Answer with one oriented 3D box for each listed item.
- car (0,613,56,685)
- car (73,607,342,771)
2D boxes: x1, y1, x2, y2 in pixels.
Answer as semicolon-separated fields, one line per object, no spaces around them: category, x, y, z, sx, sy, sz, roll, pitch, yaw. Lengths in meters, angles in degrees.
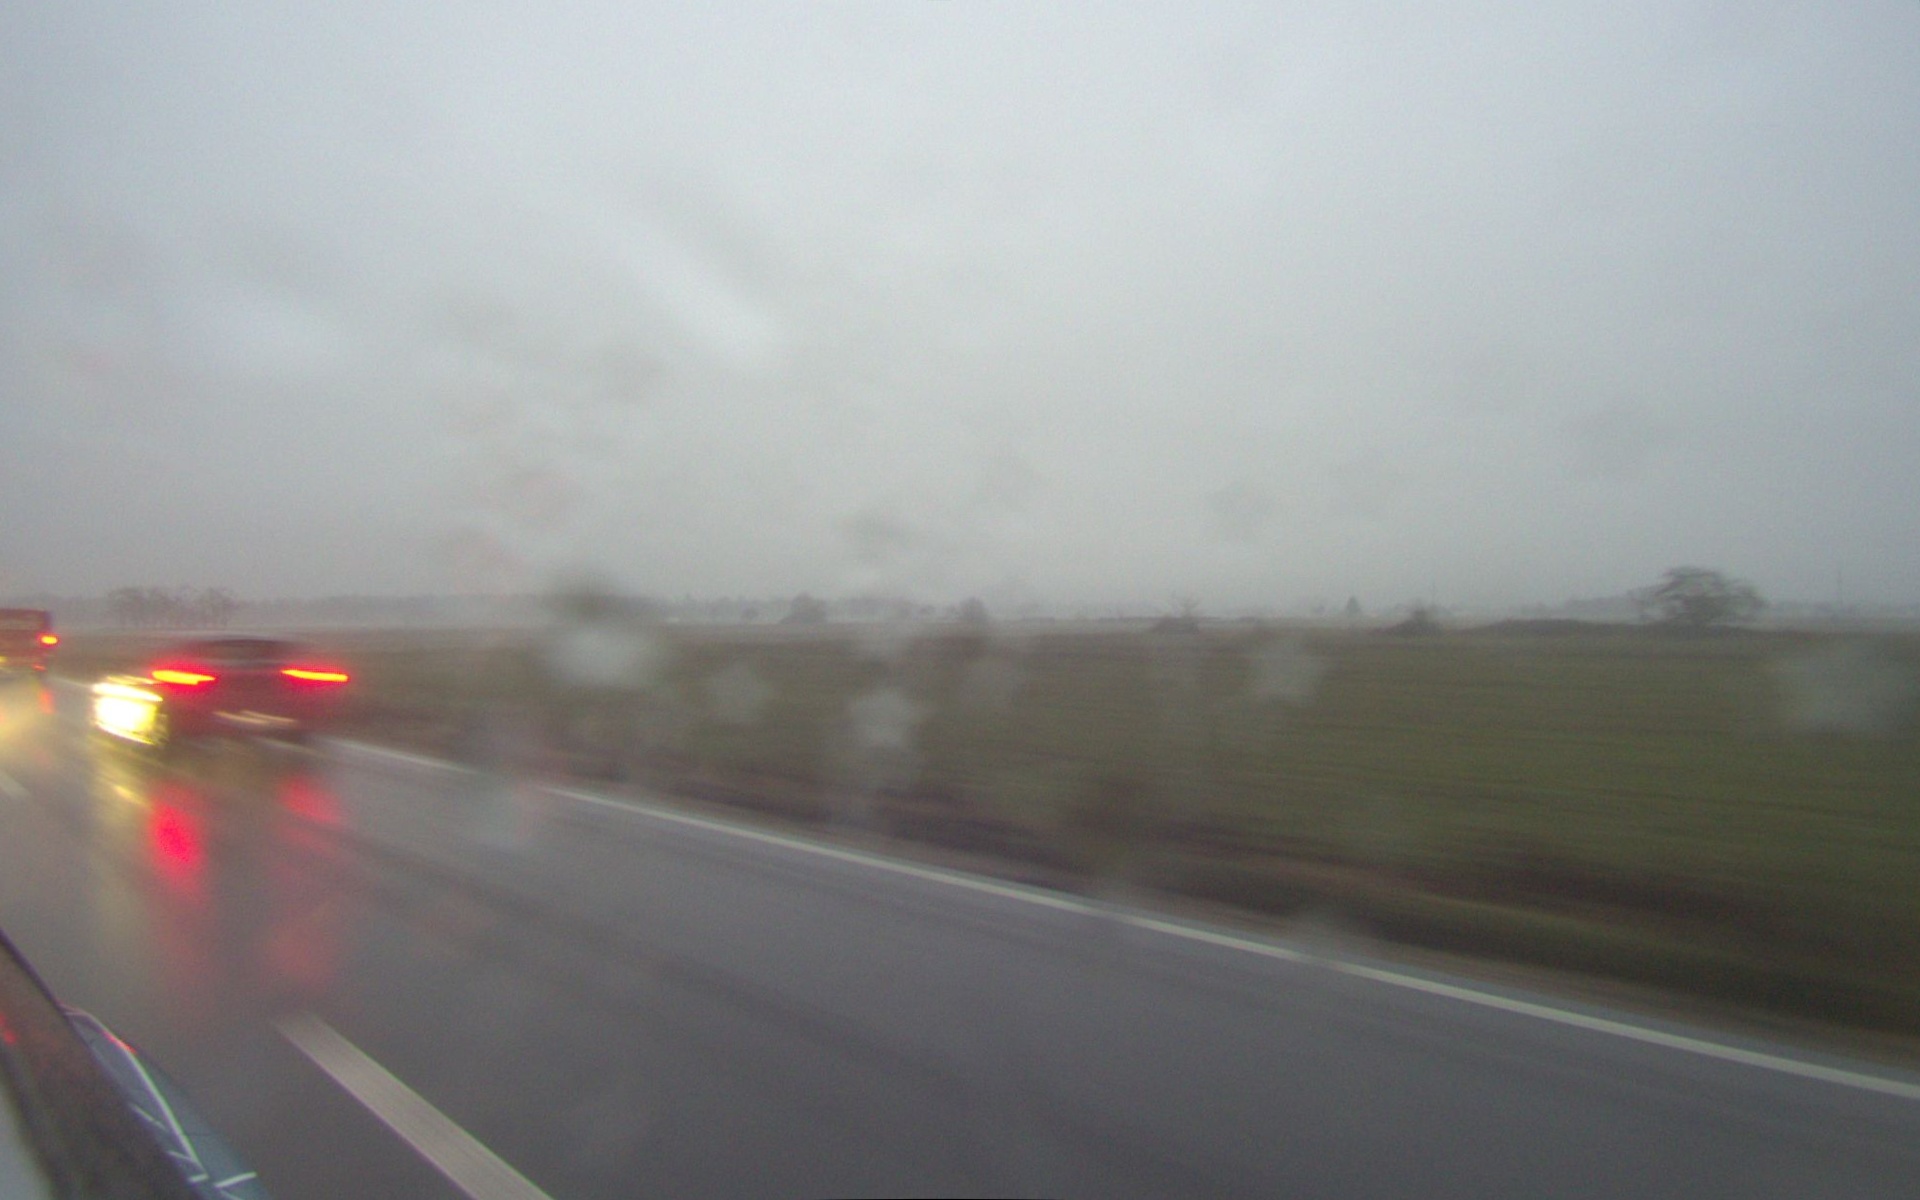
car;-26.807;1.328;28.050;4.949;1.885;1.972;-2;-4;41
car;-9.242;0.988;12.302;4.259;1.659;1.711;-2;-4;41
